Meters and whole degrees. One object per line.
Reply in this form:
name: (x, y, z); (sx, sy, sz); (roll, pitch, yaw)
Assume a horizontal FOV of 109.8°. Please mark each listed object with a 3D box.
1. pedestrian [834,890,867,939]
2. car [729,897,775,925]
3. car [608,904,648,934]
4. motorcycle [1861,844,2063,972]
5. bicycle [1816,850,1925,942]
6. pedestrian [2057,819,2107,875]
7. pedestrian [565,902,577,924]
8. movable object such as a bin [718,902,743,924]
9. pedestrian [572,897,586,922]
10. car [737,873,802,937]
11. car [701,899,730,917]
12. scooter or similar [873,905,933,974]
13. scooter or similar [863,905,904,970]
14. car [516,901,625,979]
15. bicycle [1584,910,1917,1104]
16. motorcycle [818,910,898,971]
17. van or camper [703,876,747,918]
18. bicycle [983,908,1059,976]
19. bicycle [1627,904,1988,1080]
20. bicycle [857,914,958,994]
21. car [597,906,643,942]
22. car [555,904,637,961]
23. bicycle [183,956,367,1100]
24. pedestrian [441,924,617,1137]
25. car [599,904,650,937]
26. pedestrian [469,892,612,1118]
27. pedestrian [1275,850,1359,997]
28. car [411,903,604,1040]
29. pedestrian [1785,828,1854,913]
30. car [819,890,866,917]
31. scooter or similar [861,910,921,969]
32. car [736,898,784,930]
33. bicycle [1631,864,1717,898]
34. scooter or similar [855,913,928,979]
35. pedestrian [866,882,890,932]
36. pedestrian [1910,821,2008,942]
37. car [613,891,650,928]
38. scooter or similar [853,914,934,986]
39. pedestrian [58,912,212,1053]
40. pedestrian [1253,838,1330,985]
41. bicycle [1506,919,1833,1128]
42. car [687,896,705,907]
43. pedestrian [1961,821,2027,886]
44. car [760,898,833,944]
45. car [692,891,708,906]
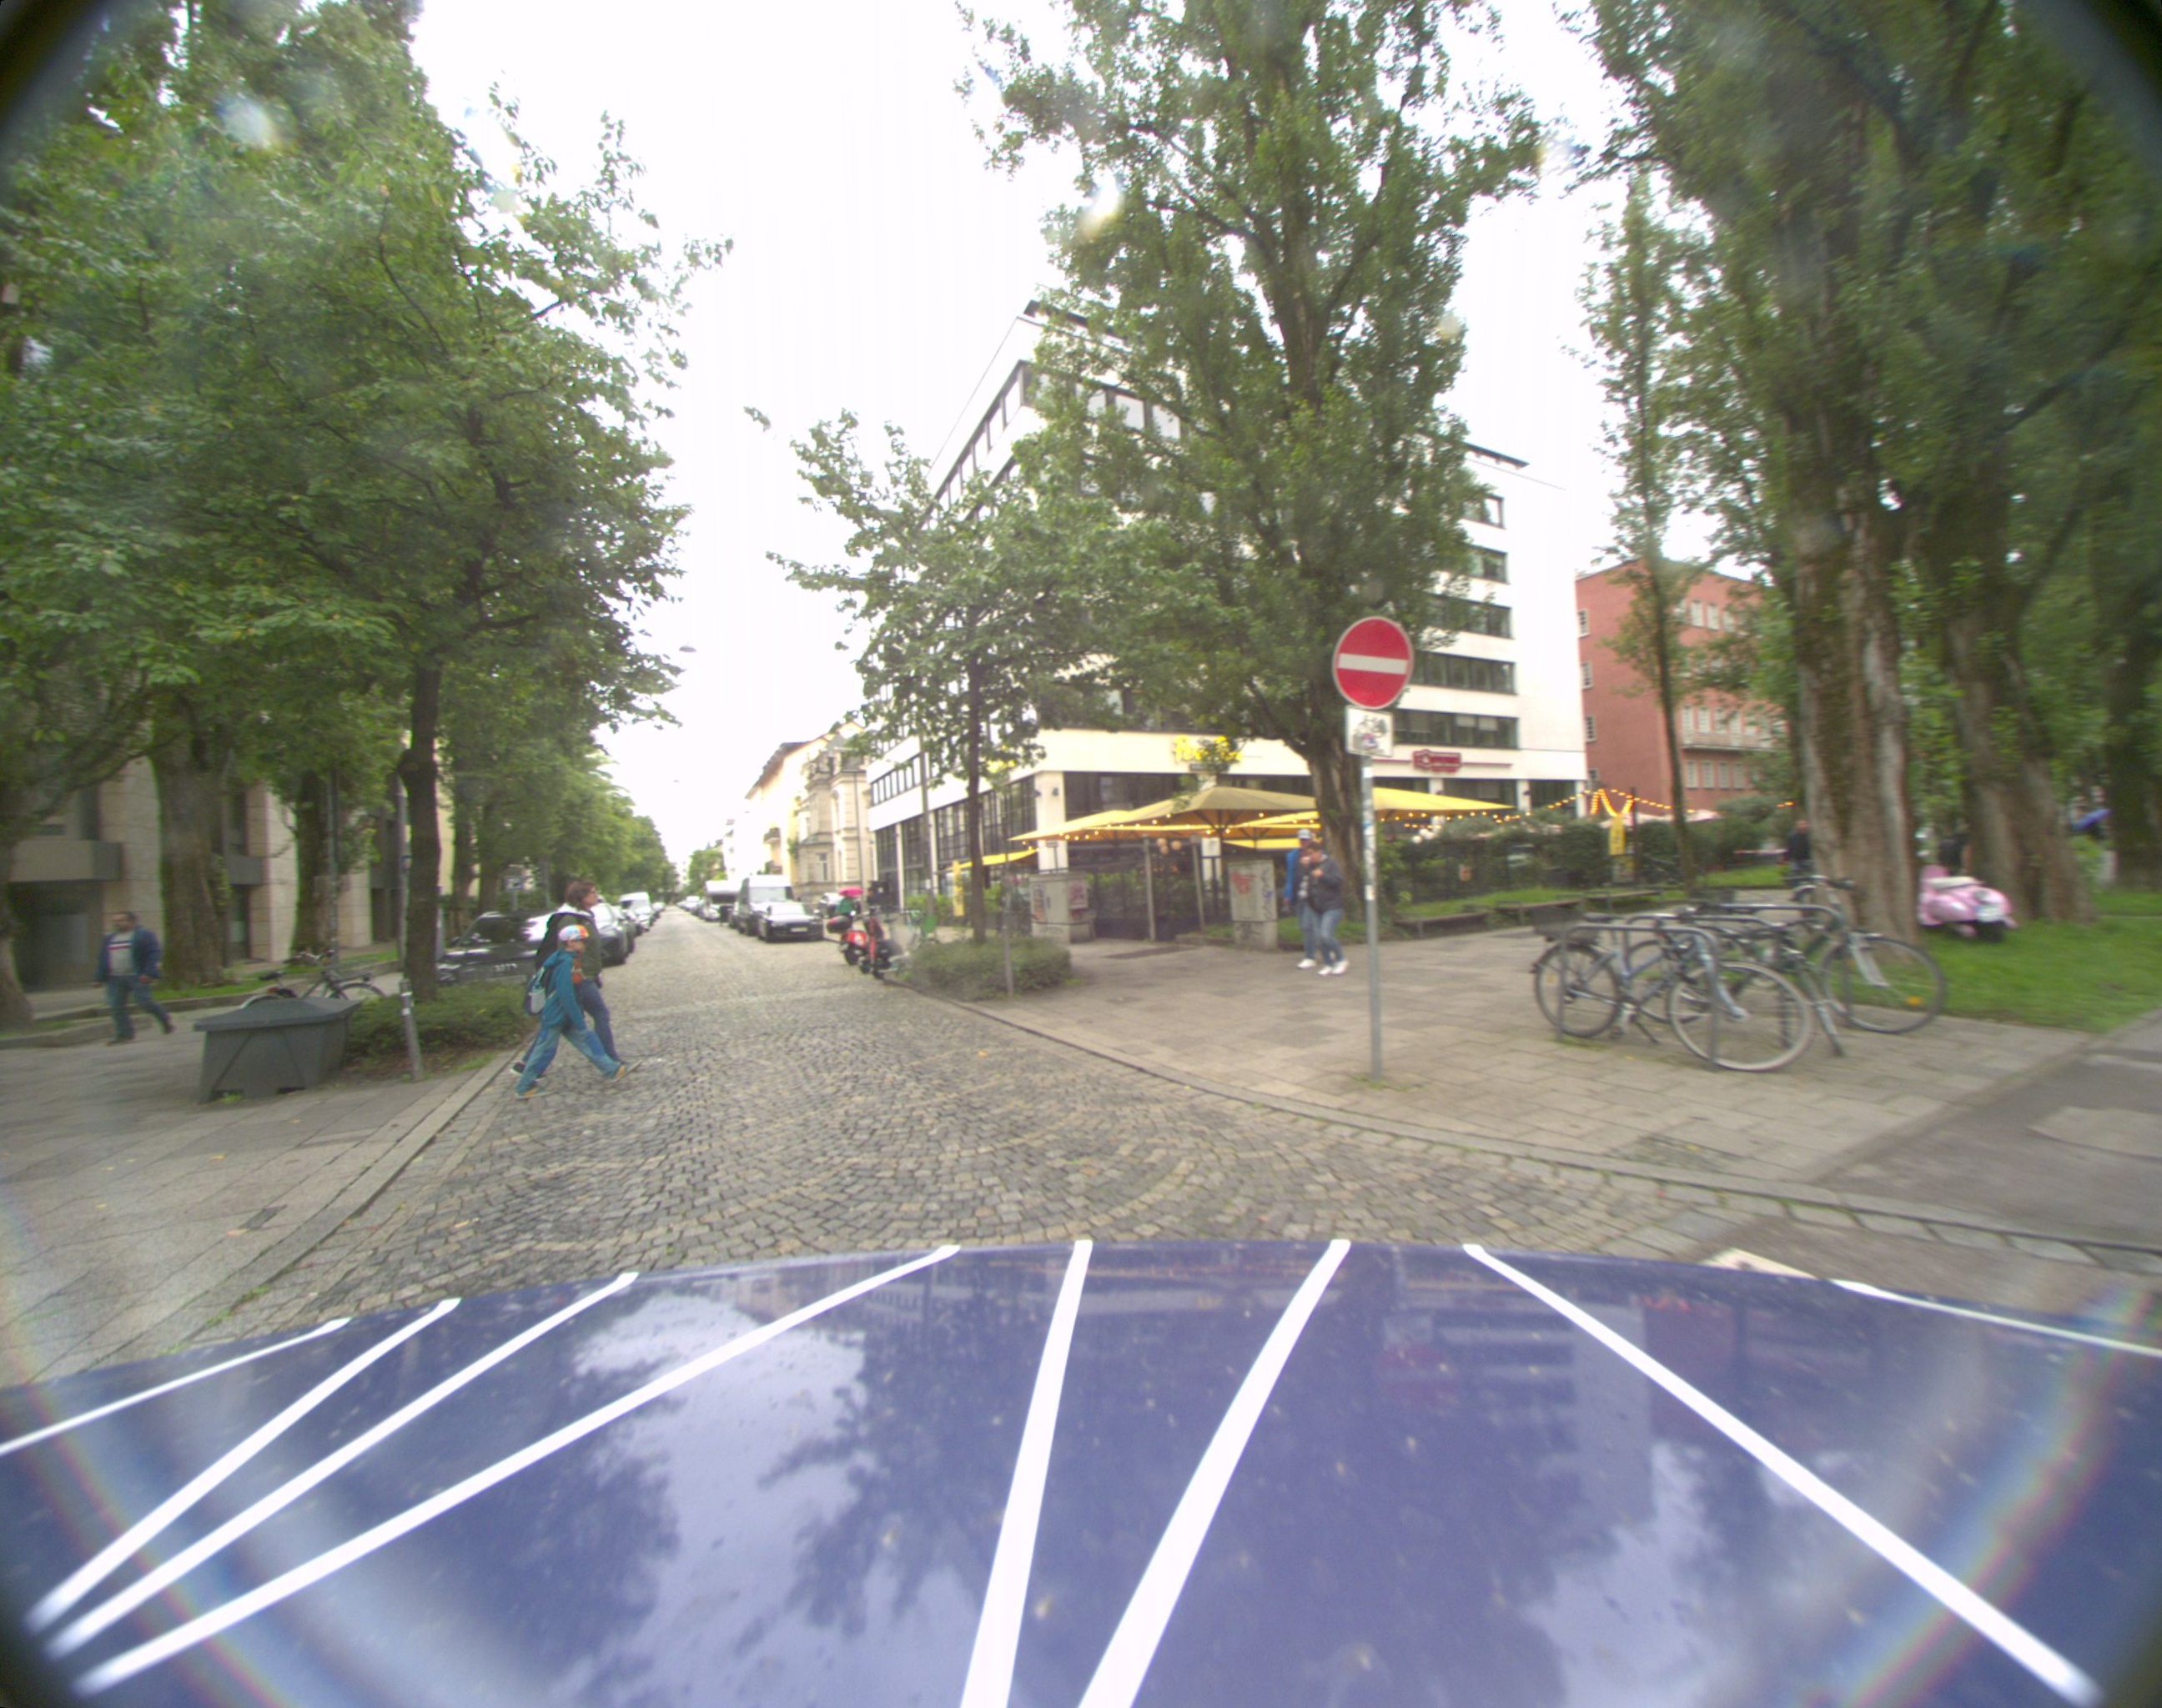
pedestrian: (-8.336, 2.170, 27.469); (0.930, 1.695, 0.798); (-3, -1, -25)
car: (-18.716, 3.209, 43.193); (2.003, 1.380, 3.992); (-2, -2, -29)
car: (-26.415, 3.742, 44.359); (1.871, 1.490, 3.866); (-4, -1, -31)
motorcycle: (10.199, 0.568, 8.915); (0.628, 1.189, 1.992); (-3, 4, 19)
bicycle: (11.228, 0.575, 10.796); (1.618, 1.181, 0.582); (-3, -1, -27)
pedestrian: (31.148, -0.211, 23.656); (0.647, 1.682, 0.735); (-3, -1, -23)
pedestrian: (-35.402, 4.103, 52.734); (0.529, 1.520, 0.546); (-4, -1, 39)
movable object such as a bin: (-21.777, 3.649, 47.194); (1.257, 1.290, 1.172); (-2, -2, -32)
pedestrian: (-31.388, 3.467, 47.545); (0.647, 1.528, 0.707); (-3, -1, -31)
car: (-13.689, 2.178, 33.208); (2.069, 2.475, 5.838); (-1, -2, -27)
car: (-33.287, 4.885, 69.168); (2.003, 1.379, 3.866); (-4, -1, -31)
scooter or similar: (-3.606, 1.717, 15.448); (0.327, 1.265, 1.253); (-4, -1, 32)
scooter or similar: (-4.191, 1.753, 16.165); (0.327, 1.265, 1.359); (-3, -2, 6)
car: (-13.801, 2.228, 20.825); (2.022, 1.690, 4.664); (-3, -1, -29)
bicycle: (4.641, 0.986, 5.443); (0.492, 1.086, 1.700); (-3, -1, -22)
motorcycle: (-4.890, 1.883, 16.841); (0.770, 1.188, 1.994); (-2, -3, 14)
van or camper: (-28.071, 3.373, 59.747); (2.469, 3.028, 7.303); (-3, -2, -29)
bicycle: (-1.057, 1.465, 12.939); (0.554, 1.016, 1.759); (-3, -1, -29)
bicycle: (5.522, 0.971, 5.984); (0.492, 1.086, 1.981); (-3, -1, -22)
bicycle: (-2.930, 1.675, 12.995); (0.552, 1.136, 1.766); (-4, -1, 32)
car: (-21.924, 3.286, 36.230); (1.608, 1.422, 3.556); (-5, 0, -29)
car: (-16.363, 2.591, 25.831); (2.003, 1.573, 4.334); (-3, -1, -29)
bicycle: (-8.388, 1.746, 8.019); (0.476, 1.129, 1.874); (-3, -1, -19)
pedestrian: (-4.192, 1.289, 5.845); (0.771, 1.411, 0.818); (-3, -1, -12)
car: (-23.739, 3.429, 39.616); (2.002, 1.379, 3.866); (-4, -1, -29)
pedestrian: (-4.404, 1.181, 6.241); (0.691, 1.690, 0.663); (-3, -1, -12)
pedestrian: (2.911, 0.829, 9.365); (0.701, 1.717, 0.646); (-4, -1, 39)
car: (-9.286, 1.753, 12.686); (1.929, 1.690, 4.193); (-3, -1, -29)
pedestrian: (15.135, 0.344, 15.581); (0.647, 1.682, 0.735); (-3, -1, -23)
car: (-14.912, 3.057, 47.386); (1.916, 1.523, 4.161); (-3, -2, -30)
scooter or similar: (-3.999, 1.802, 15.955); (1.248, 1.173, 0.391); (-4, -1, 31)
car: (-16.537, 3.049, 39.026); (2.002, 1.422, 3.993); (-2, -2, -26)
bicycle: (16.828, 0.779, 21.613); (0.621, 0.907, 1.798); (-3, -1, -30)
scooter or similar: (-3.612, 1.741, 14.525); (1.252, 1.137, 0.327); (-3, -1, -27)
pedestrian: (-7.257, 1.895, 27.169); (0.577, 1.737, 0.649); (-3, -1, -34)
pedestrian: (13.434, 0.402, 11.633); (0.706, 1.762, 0.751); (-3, 0, -23)
car: (-32.524, 3.978, 55.080); (2.092, 2.418, 5.600); (-4, -1, -30)
scooter or similar: (-3.382, 1.712, 13.789); (0.368, 1.137, 1.433); (-4, -1, 39)
pedestrian: (-12.657, 1.675, 10.206); (0.869, 1.703, 0.911); (-3, -1, -8)
pedestrian: (2.847, 0.753, 10.282); (0.701, 1.896, 0.646); (-4, -1, 39)
bicycle: (3.880, 1.040, 5.205); (0.492, 1.086, 1.700); (-3, -1, -22)
car: (-56.064, 6.962, 110.594); (2.003, 1.401, 3.866); (-4, -1, -31)
pedestrian: (24.538, 0.006, 20.431); (0.769, 1.682, 0.889); (-3, -1, -23)
car: (-10.193, 2.318, 27.065); (2.002, 1.322, 4.109); (-3, -1, -26)
car: (-67.453, 7.819, 134.524); (2.092, 2.417, 5.600); (-3, -2, -30)
